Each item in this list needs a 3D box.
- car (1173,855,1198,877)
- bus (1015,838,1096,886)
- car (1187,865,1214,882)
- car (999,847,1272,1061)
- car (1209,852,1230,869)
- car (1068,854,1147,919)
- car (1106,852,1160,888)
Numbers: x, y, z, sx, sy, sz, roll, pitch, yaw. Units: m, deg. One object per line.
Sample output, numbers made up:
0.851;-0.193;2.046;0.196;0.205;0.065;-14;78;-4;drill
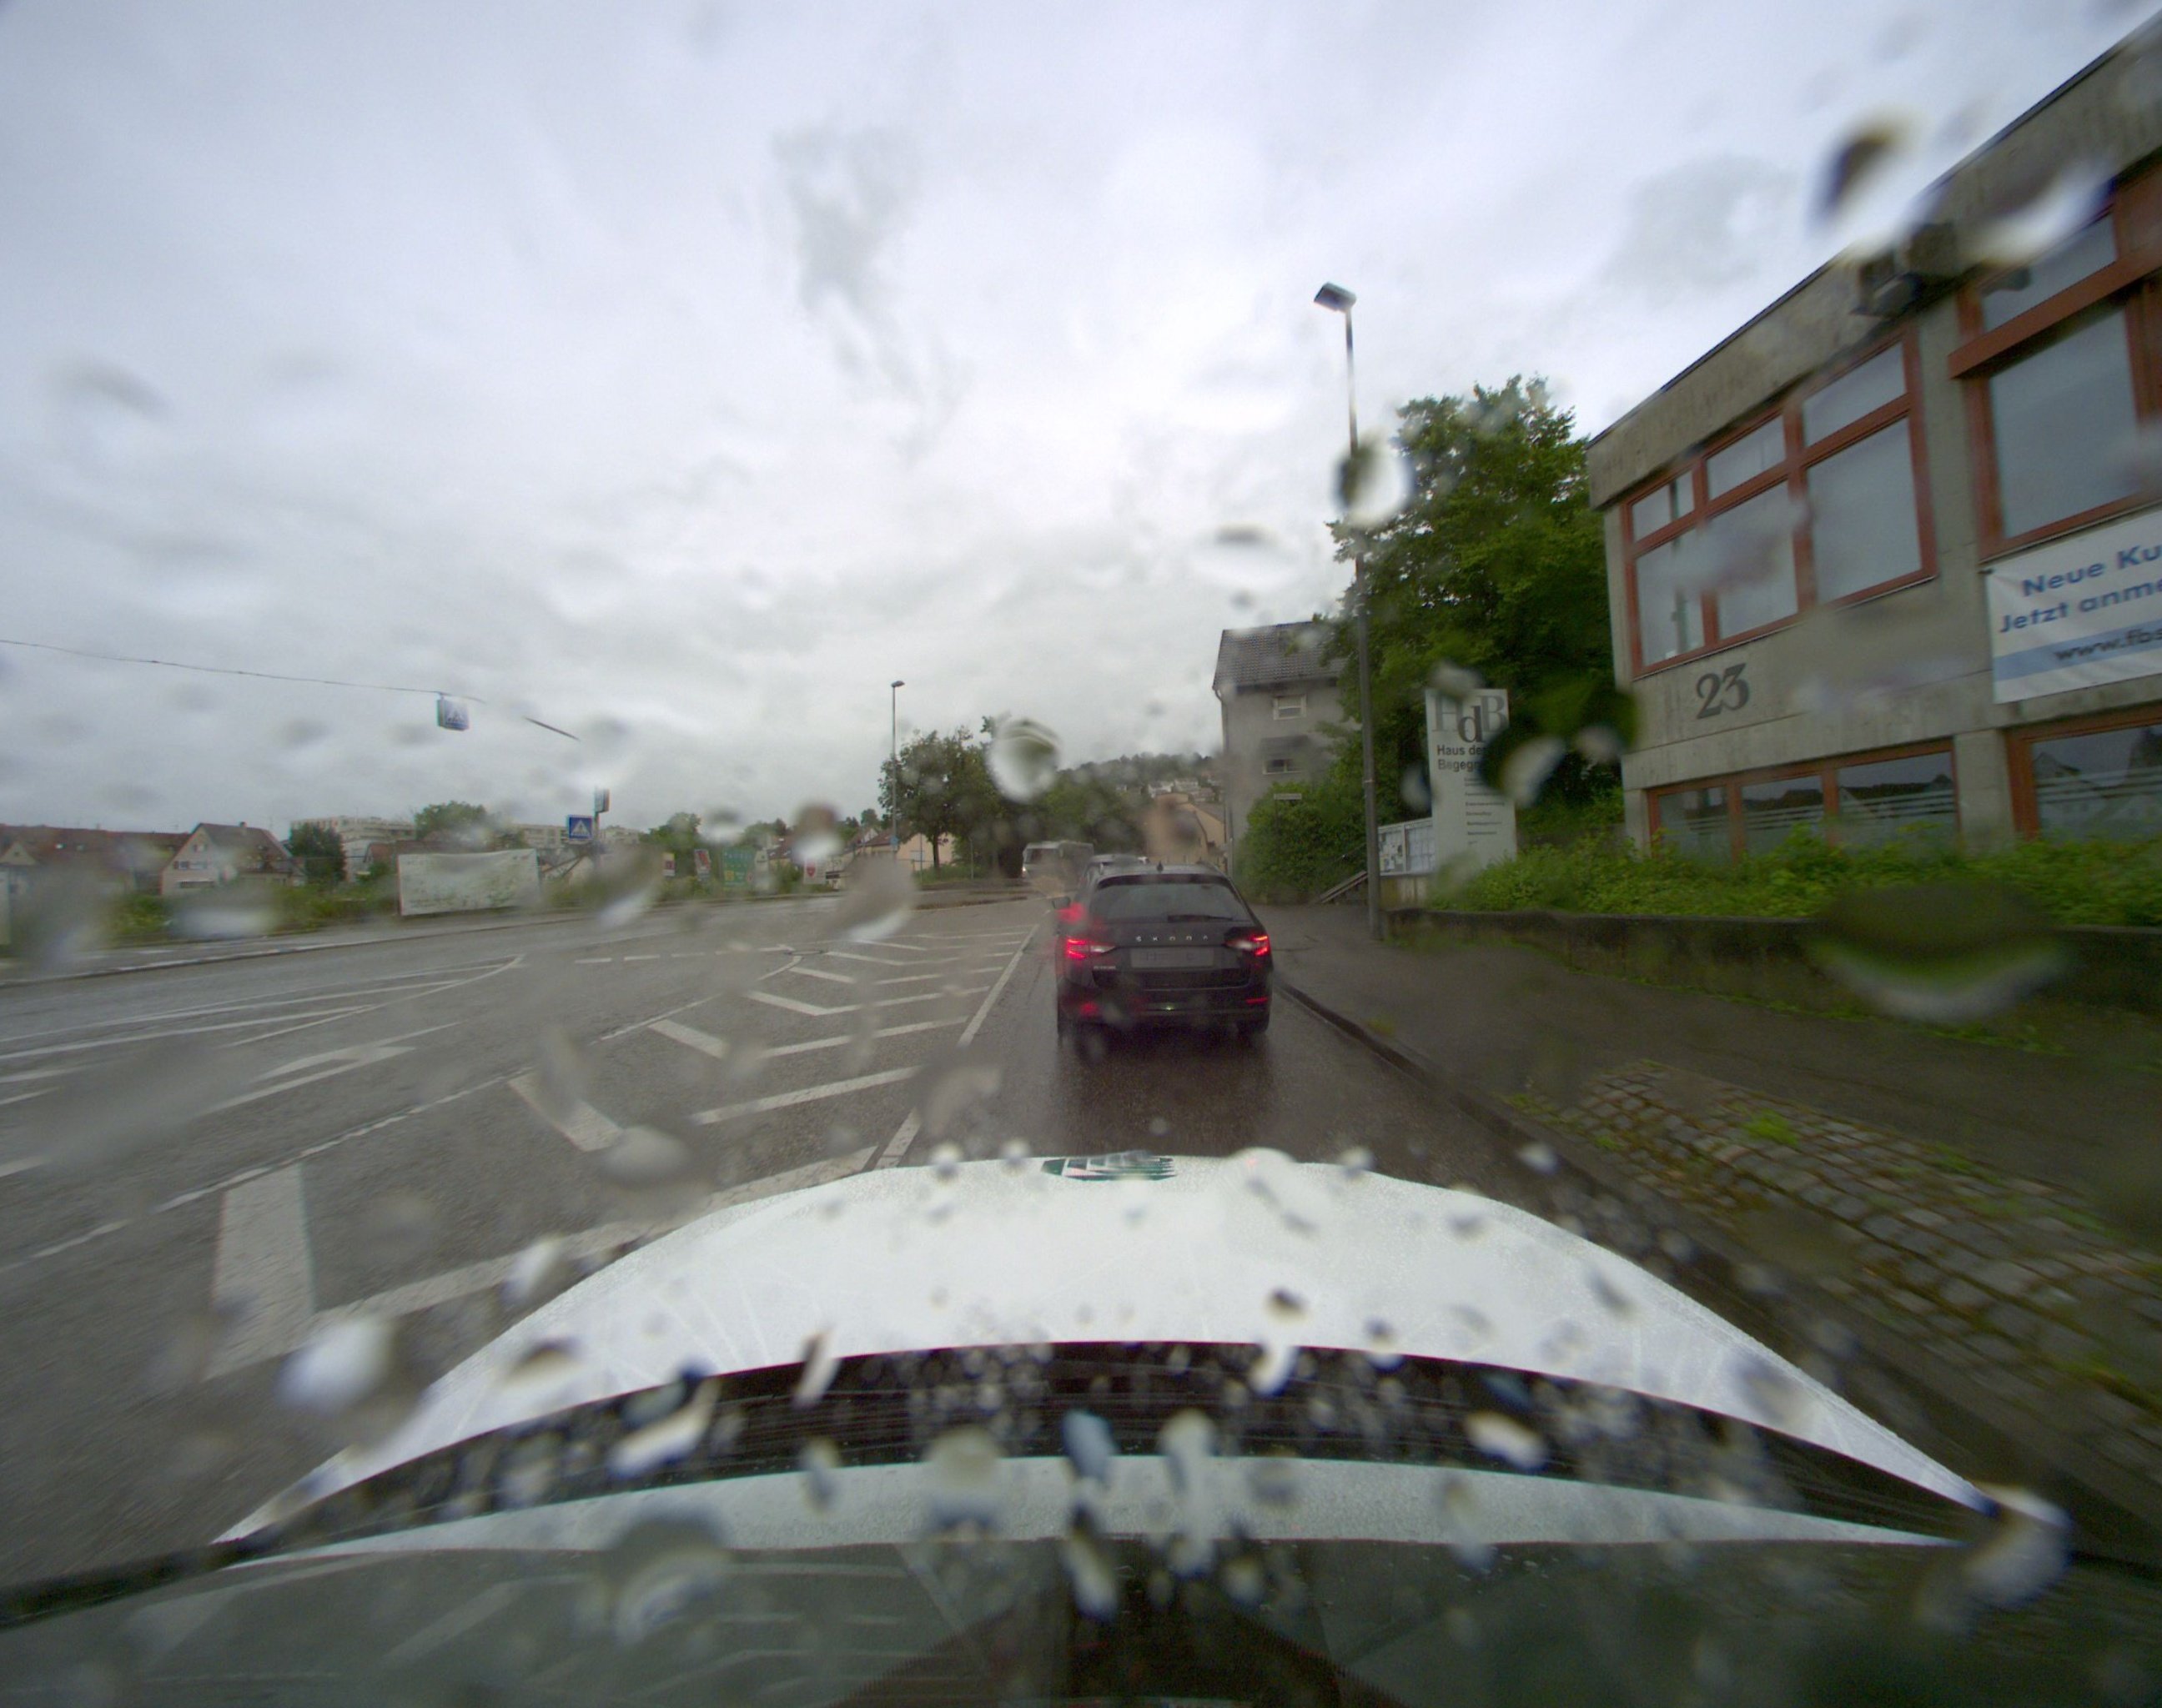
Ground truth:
7.706;0.833;59.950;1.557;1.530;4.012;-2;0;11;car
-1.402;0.454;49.927;2.376;2.676;7.083;-2;0;20;bus
11.235;1.824;76.276;1.979;1.453;3.785;-4;-1;14;car
0.429;0.758;8.160;1.947;1.507;4.608;1;-1;1;car
17.051;0.844;100.285;1.986;2.014;4.001;-1;-1;2;car
0.784;0.819;21.357;1.820;1.500;4.173;-1;-1;4;car
2.303;0.696;35.054;1.836;1.410;4.313;-1;-1;10;car
